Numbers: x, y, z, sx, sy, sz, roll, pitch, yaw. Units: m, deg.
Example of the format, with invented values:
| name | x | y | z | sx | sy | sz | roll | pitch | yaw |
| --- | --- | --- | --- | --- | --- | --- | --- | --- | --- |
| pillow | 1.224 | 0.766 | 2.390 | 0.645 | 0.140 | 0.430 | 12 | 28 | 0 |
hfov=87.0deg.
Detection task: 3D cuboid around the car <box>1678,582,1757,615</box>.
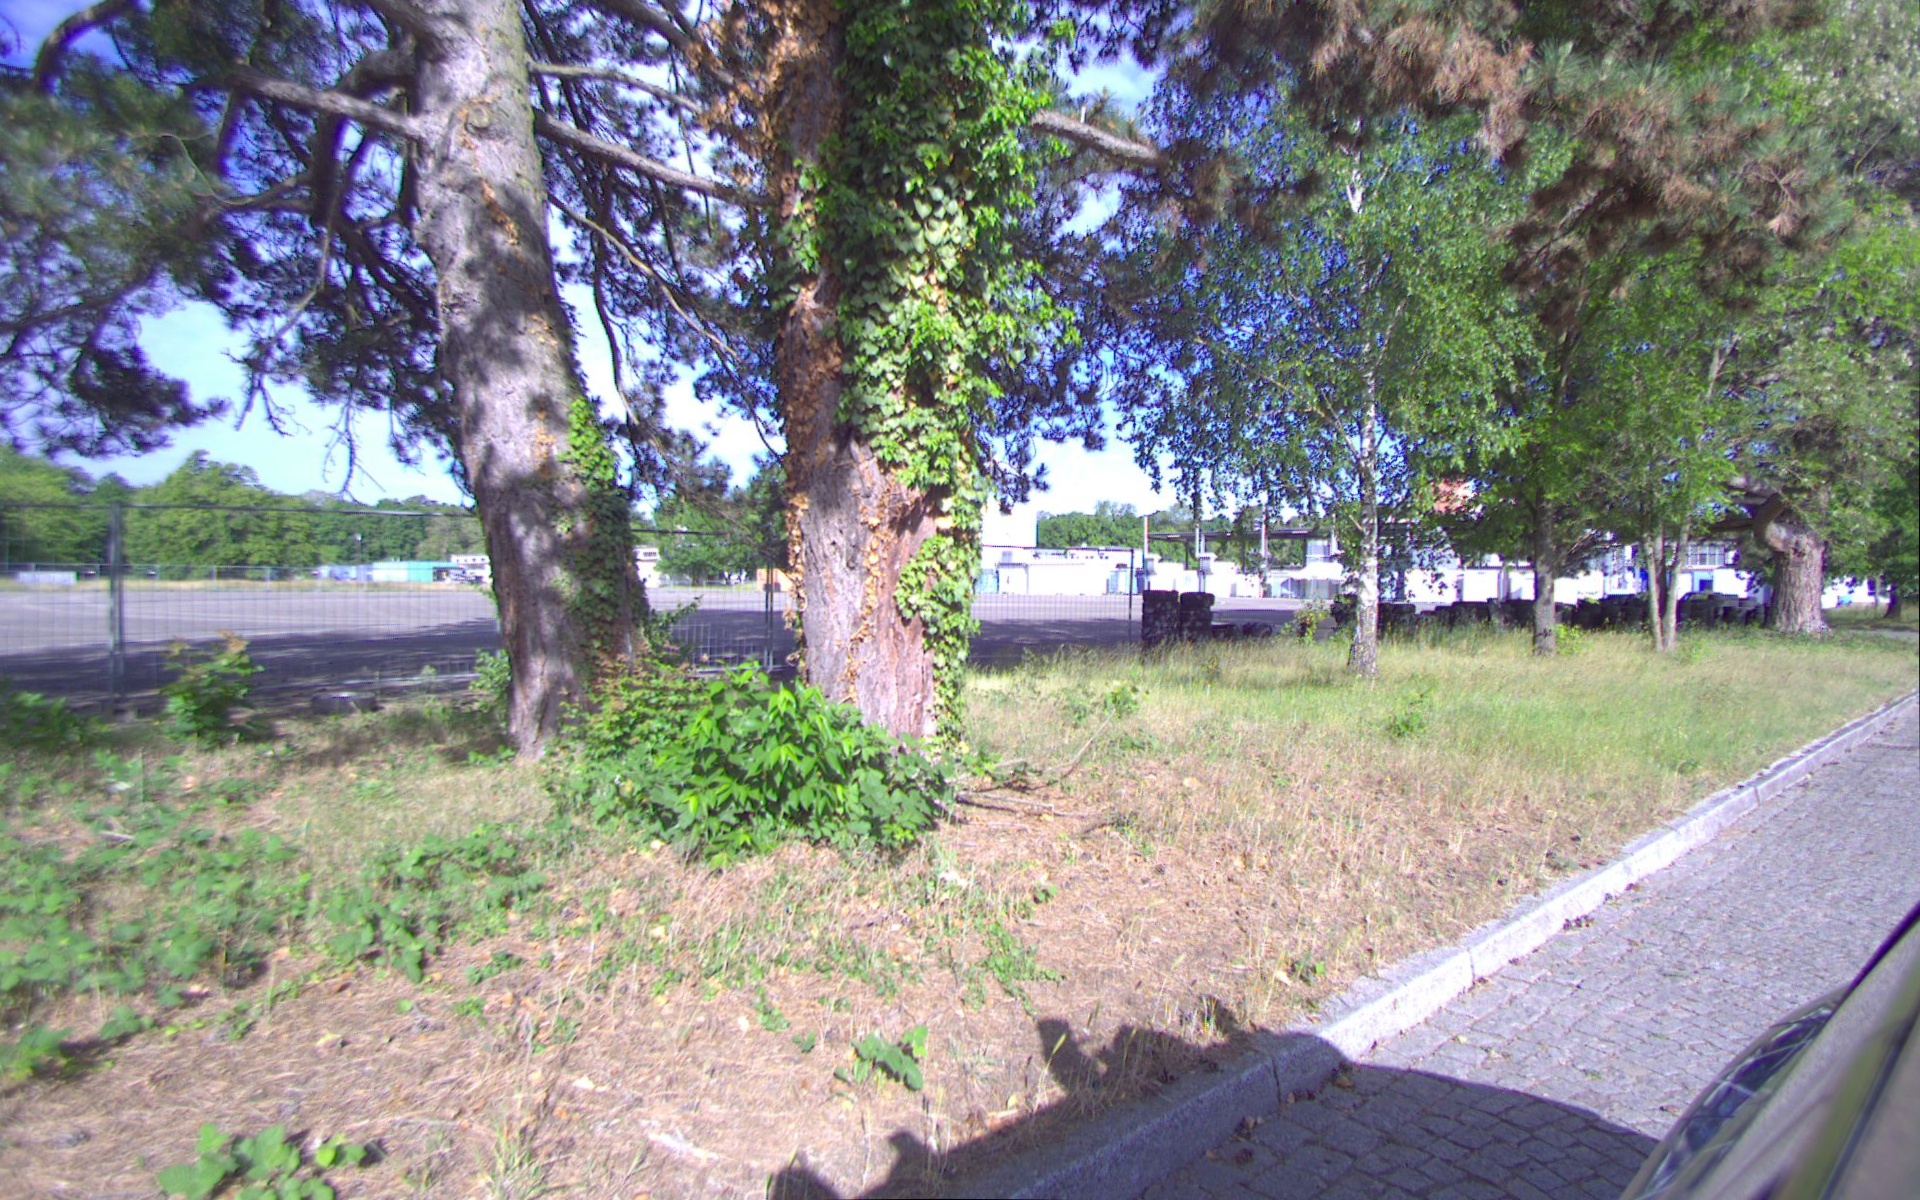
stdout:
| name | x | y | z | sx | sy | sz | roll | pitch | yaw |
| --- | --- | --- | --- | --- | --- | --- | --- | --- | --- |
| car | 35.401 | -0.083 | 47.277 | 3.924 | 1.467 | 1.848 | 0 | 1 | -36 |
